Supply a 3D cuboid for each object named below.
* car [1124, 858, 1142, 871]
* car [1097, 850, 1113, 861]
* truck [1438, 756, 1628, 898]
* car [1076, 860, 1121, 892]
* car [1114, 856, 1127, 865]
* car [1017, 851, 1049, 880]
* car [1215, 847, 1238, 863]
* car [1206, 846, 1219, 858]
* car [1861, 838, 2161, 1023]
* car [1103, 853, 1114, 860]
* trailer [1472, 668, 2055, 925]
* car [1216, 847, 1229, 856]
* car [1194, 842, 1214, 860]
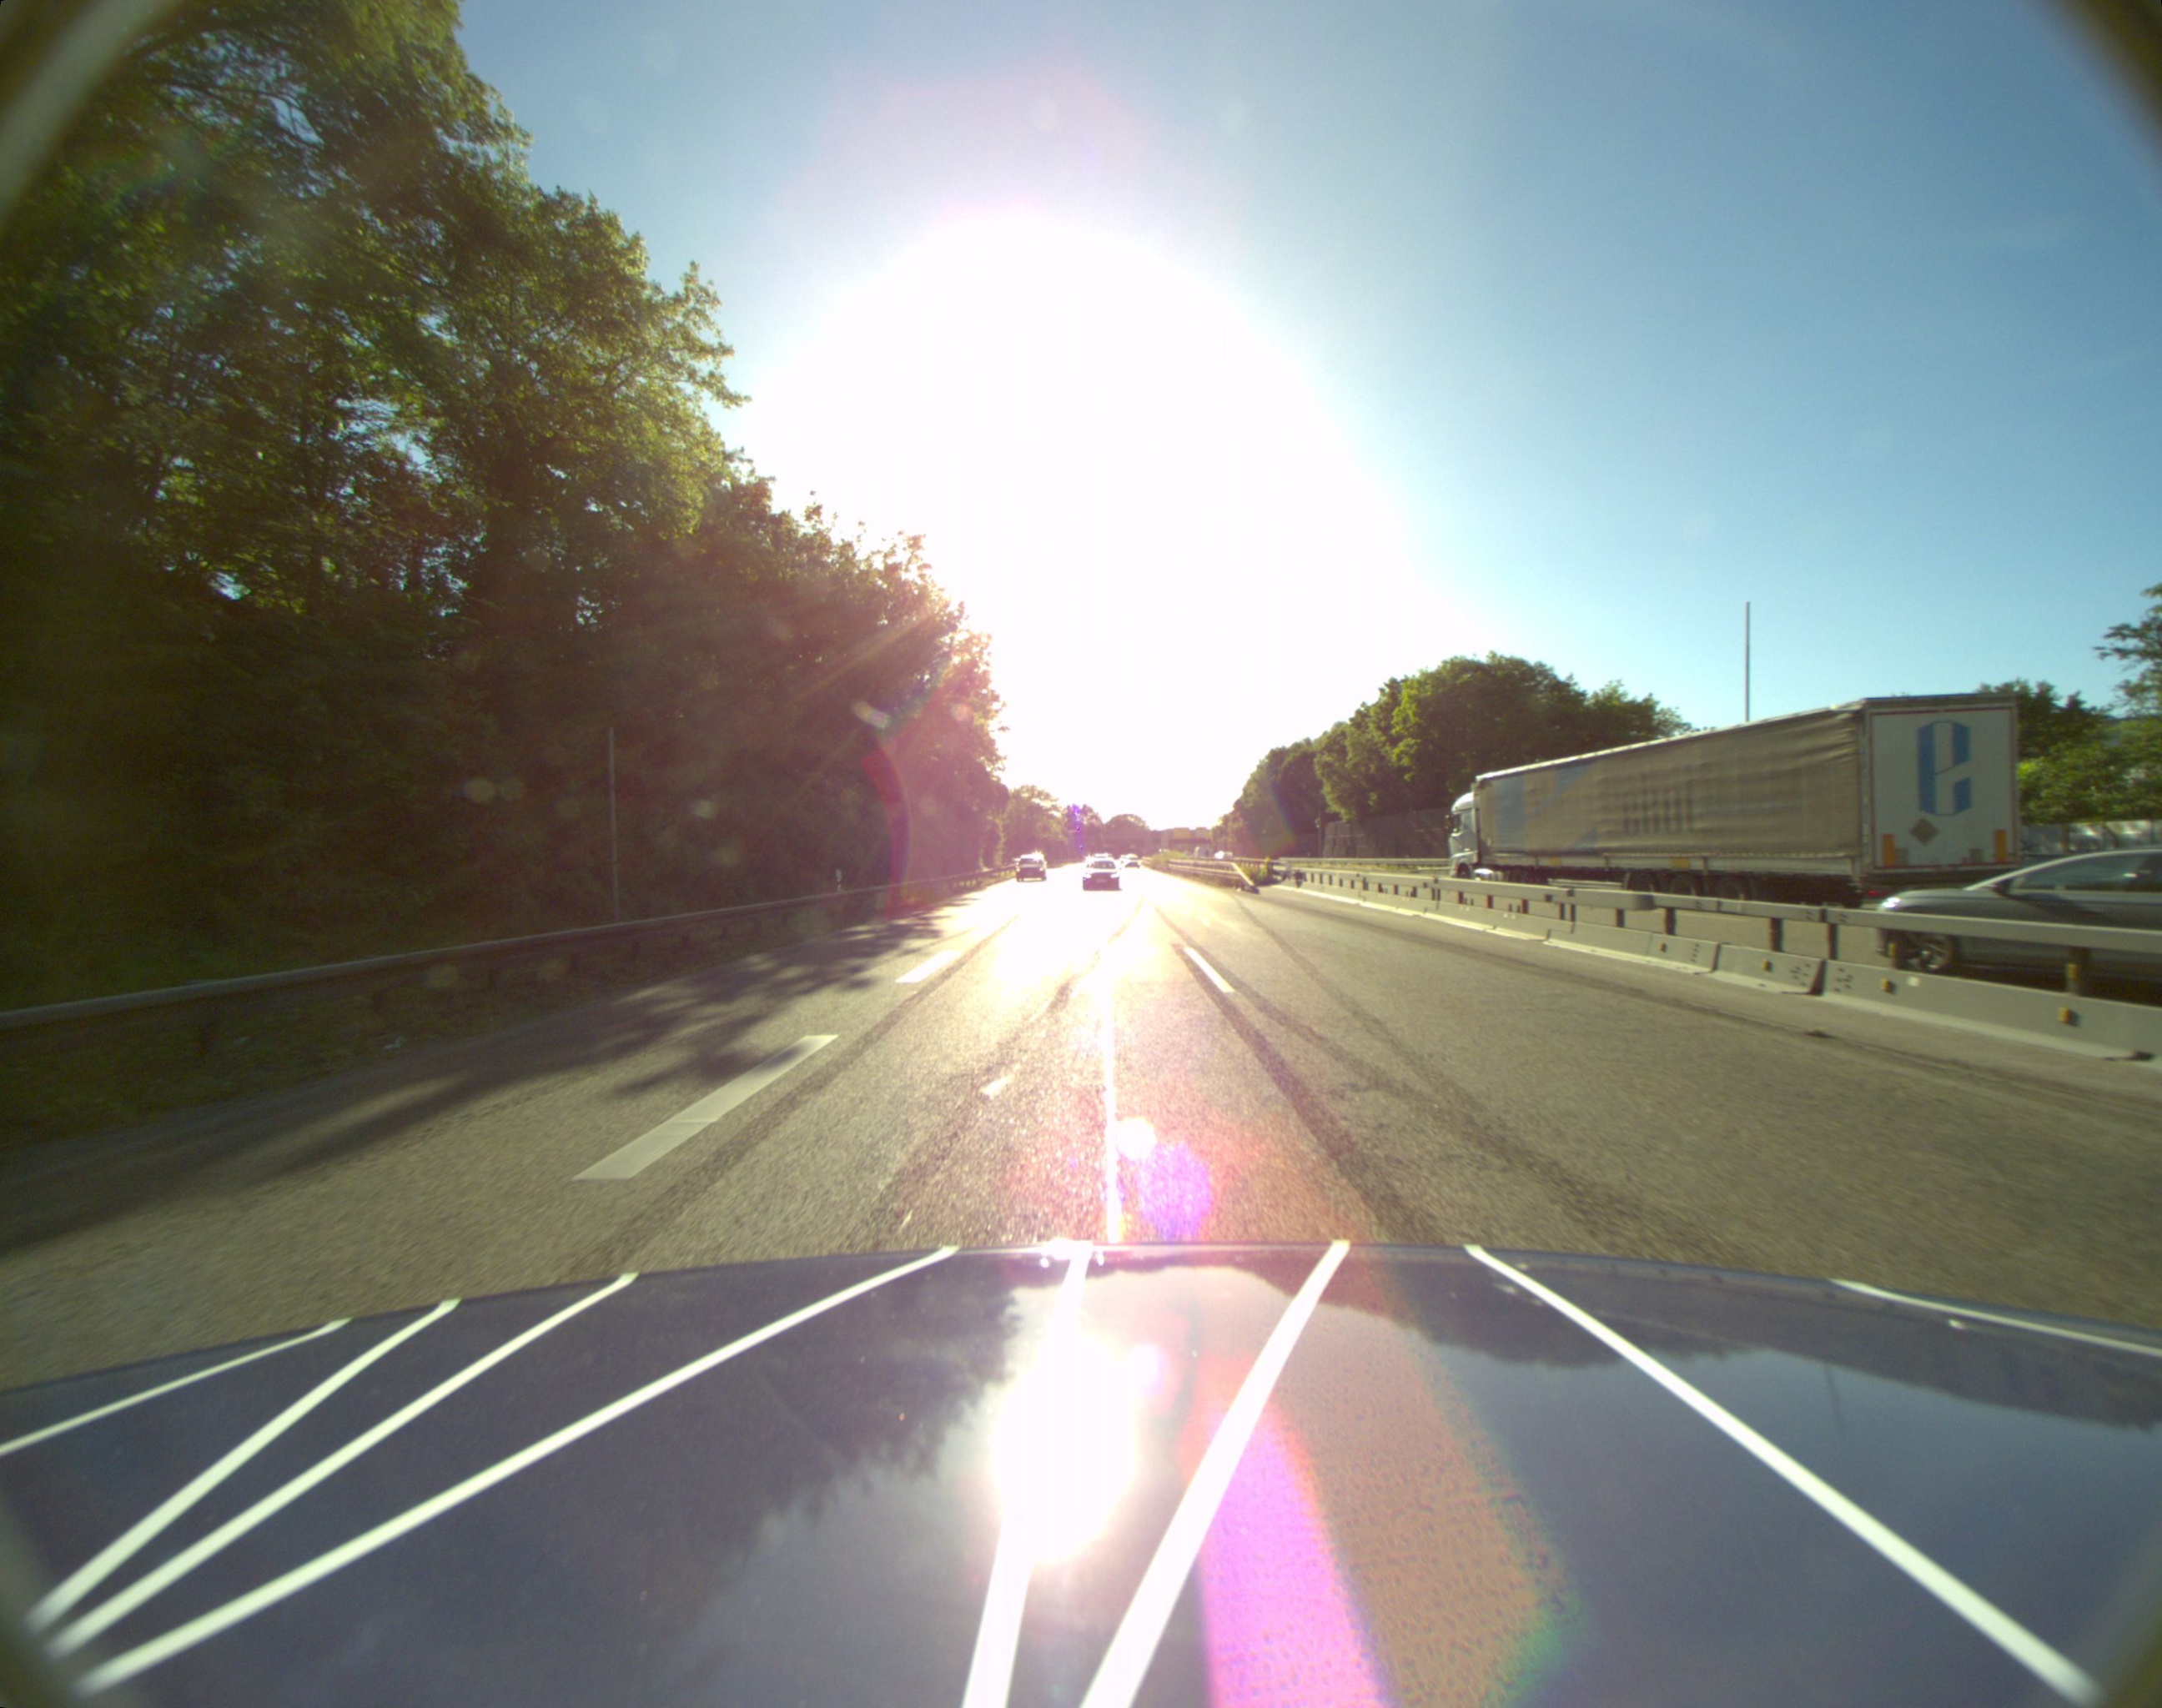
[{"bbox_3d":[5.991,1.183,88.234,1.998,1.406,4.832,-1,0,4],"label":"car"},{"bbox_3d":[3.392,0.245,107.774,1.998,1.406,4.833,-1,0,5],"label":"car"},{"bbox_3d":[15.351,-0.795,26.484,2.742,4.236,6.388,-3,-1,1],"label":"truck"},{"bbox_3d":[0.906,1.023,36.734,1.998,1.406,4.832,0,0,4],"label":"car"},{"bbox_3d":[6.551,1.056,125.723,1.998,1.406,4.833,-1,0,5],"label":"car"},{"bbox_3d":[-2.995,0.736,48.098,1.746,1.652,4.000,-3,-1,-1],"label":"car"},{"bbox_3d":[17.400,0.136,90.994,1.998,1.772,4.787,-3,-1,4],"label":"car"},{"bbox_3d":[25.440,-0.311,147.102,2.080,2.267,5.378,-3,-1,7],"label":"car"},{"bbox_3d":[10.830,0.676,7.115,1.998,1.648,4.939,-3,-1,1],"label":"car"},{"bbox_3d":[5.467,0.472,151.634,1.998,1.406,4.832,-1,0,4],"label":"car"},{"bbox_3d":[15.208,-0.888,19.955,2.754,4.254,14.087,-3,-1,1],"label":"trailer"},{"bbox_3d":[23.718,-0.456,127.752,2.000,1.326,4.100,-3,-1,8],"label":"car"},{"bbox_3d":[18.916,-0.377,117.401,2.152,2.595,6.053,-3,-1,2],"label":"car"}]
